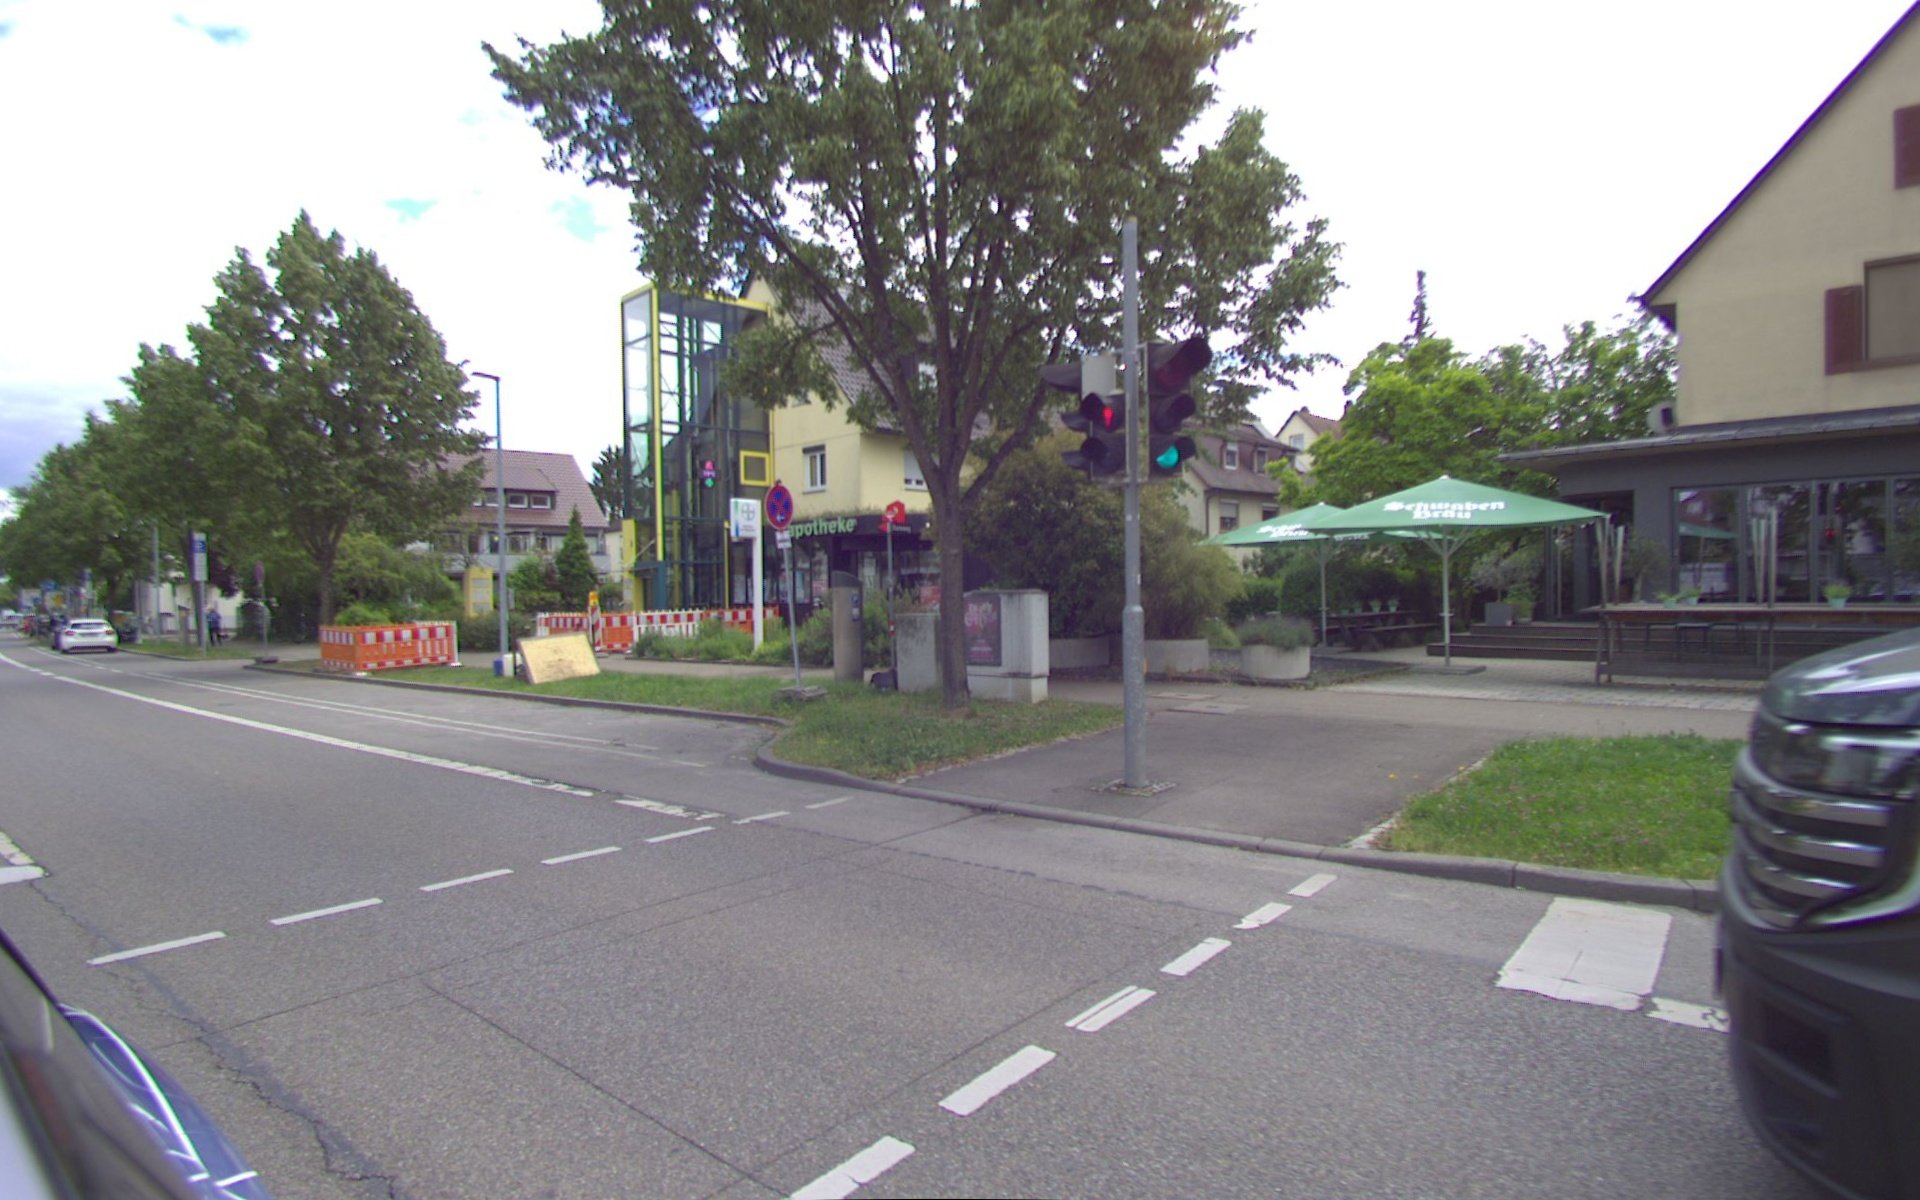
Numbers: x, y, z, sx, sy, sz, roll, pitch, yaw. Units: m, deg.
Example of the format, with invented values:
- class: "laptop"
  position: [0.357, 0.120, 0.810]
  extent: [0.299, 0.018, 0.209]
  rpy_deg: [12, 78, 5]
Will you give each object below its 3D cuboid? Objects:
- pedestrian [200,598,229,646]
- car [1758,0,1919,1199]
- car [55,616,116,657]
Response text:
- class: "pedestrian"
  position: [-32.090, 0.949, 43.575]
  extent: [0.998, 2.029, 0.815]
  rpy_deg: [-1, -1, 41]
- class: "car"
  position: [4.483, 0.142, 0.526]
  extent: [6.304, 2.499, 2.040]
  rpy_deg: [-1, -1, 38]
- class: "car"
  position: [-36.578, 1.484, 42.377]
  extent: [1.863, 1.586, 4.006]
  rpy_deg: [0, -1, -41]
